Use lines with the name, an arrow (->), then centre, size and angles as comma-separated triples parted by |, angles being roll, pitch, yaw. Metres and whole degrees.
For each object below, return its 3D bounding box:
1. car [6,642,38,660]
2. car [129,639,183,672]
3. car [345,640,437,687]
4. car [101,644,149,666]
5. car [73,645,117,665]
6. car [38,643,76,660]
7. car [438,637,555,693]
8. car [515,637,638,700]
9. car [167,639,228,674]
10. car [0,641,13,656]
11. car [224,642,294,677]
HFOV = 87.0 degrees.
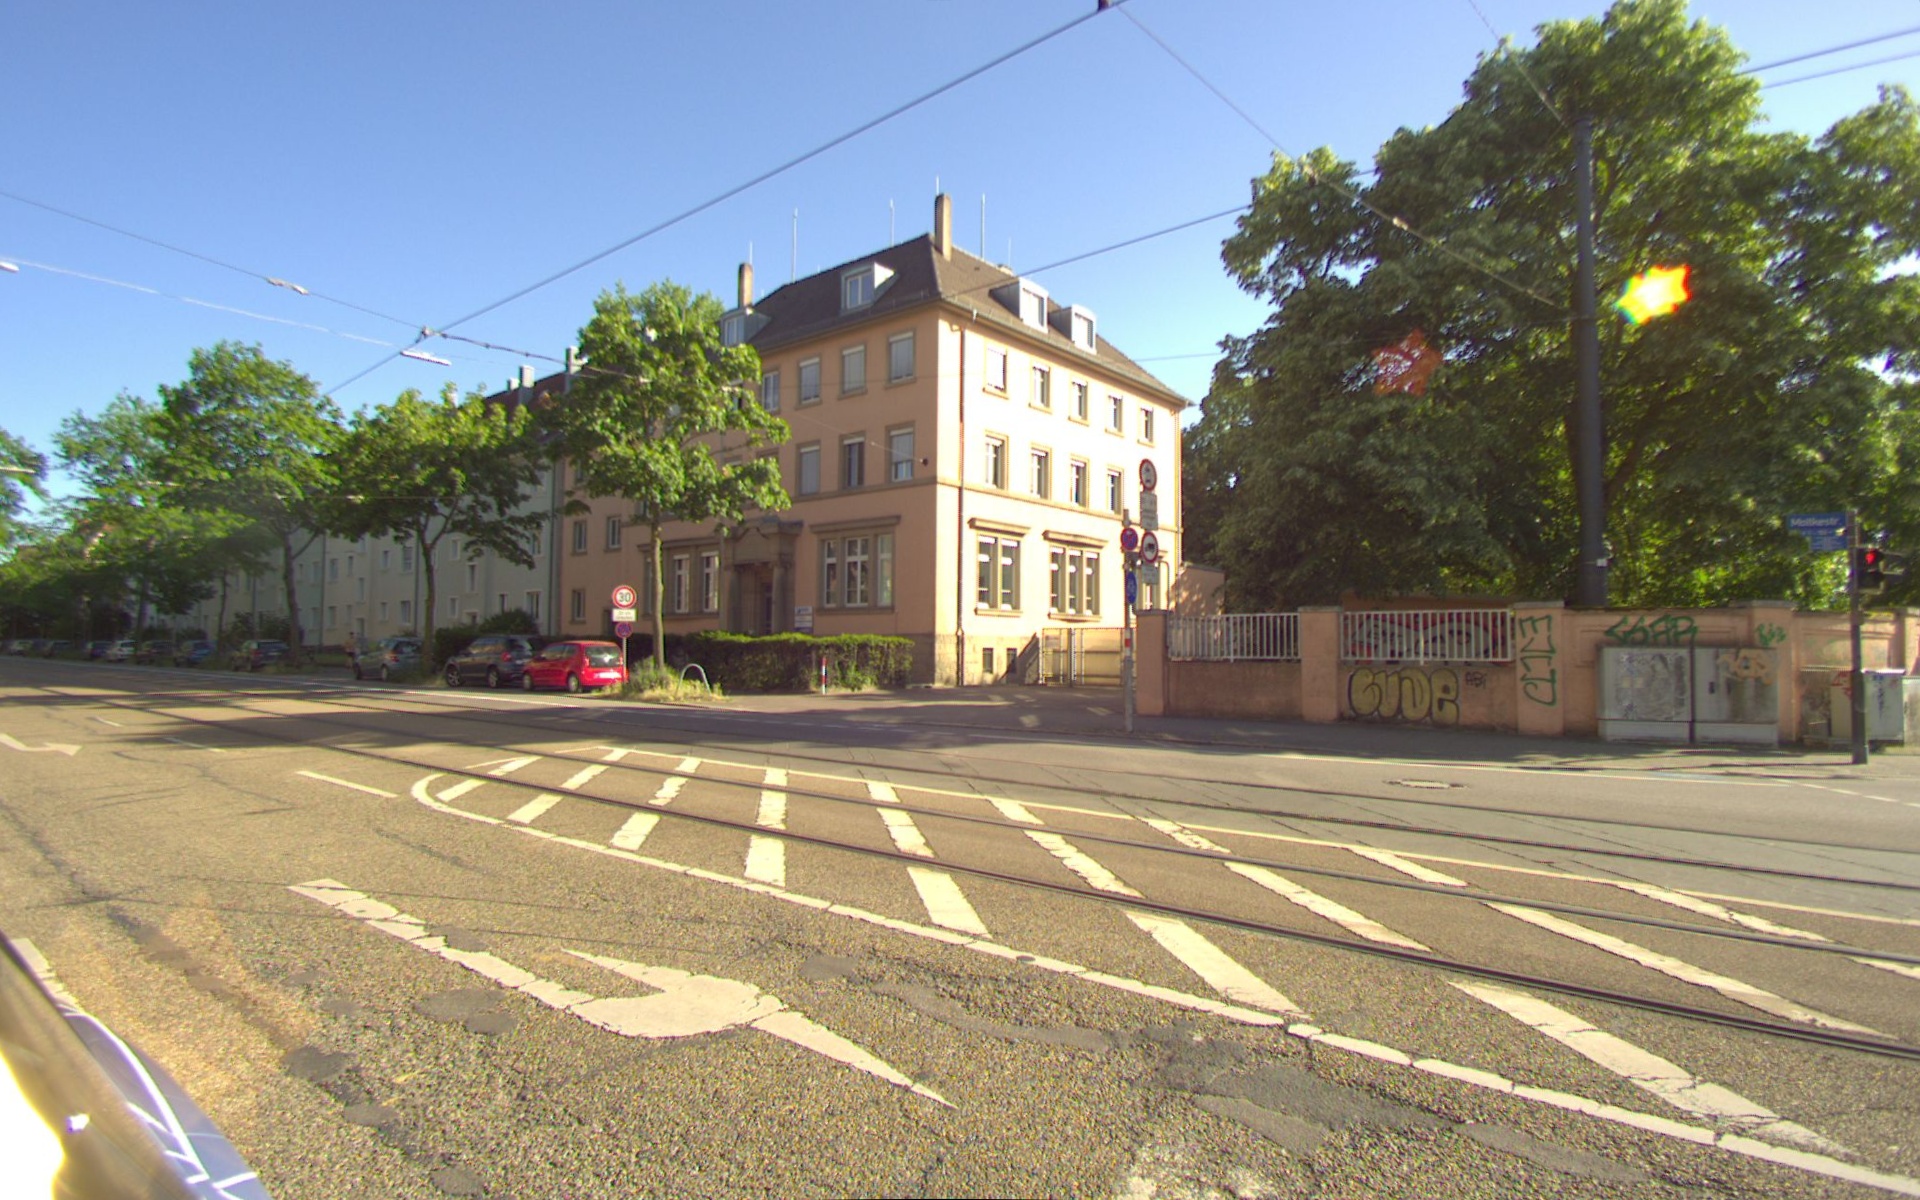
car -> -93.622, 5.072, 101.040 | 3.626, 1.792, 1.793 | -2, -4, 39
car -> -49.557, 3.395, 62.392 | 3.626, 1.956, 1.793 | -2, -4, 39
car -> -21.435, 2.373, 38.077 | 3.874, 1.671, 1.792 | -2, -4, 41
car -> -56.574, 3.737, 68.569 | 3.626, 1.430, 1.793 | -2, -4, 39
car -> -63.462, 4.009, 74.230 | 3.626, 1.430, 1.793 | -2, -4, 39
car -> -76.151, 4.358, 85.359 | 3.626, 1.430, 1.793 | -2, -4, 39
car -> -14.808, 2.052, 32.288 | 3.813, 1.671, 1.794 | -2, -4, 37
car -> -11.179, 1.957, 29.450 | 3.369, 1.719, 1.794 | -2, -4, 37
car -> -42.626, 3.148, 56.546 | 3.791, 1.839, 1.793 | -2, -4, 39
car -> -102.838, 5.207, 108.150 | 3.626, 1.535, 1.793 | -2, -4, 39
car -> -33.720, 2.846, 48.678 | 3.626, 1.611, 1.793 | -2, -4, 39
